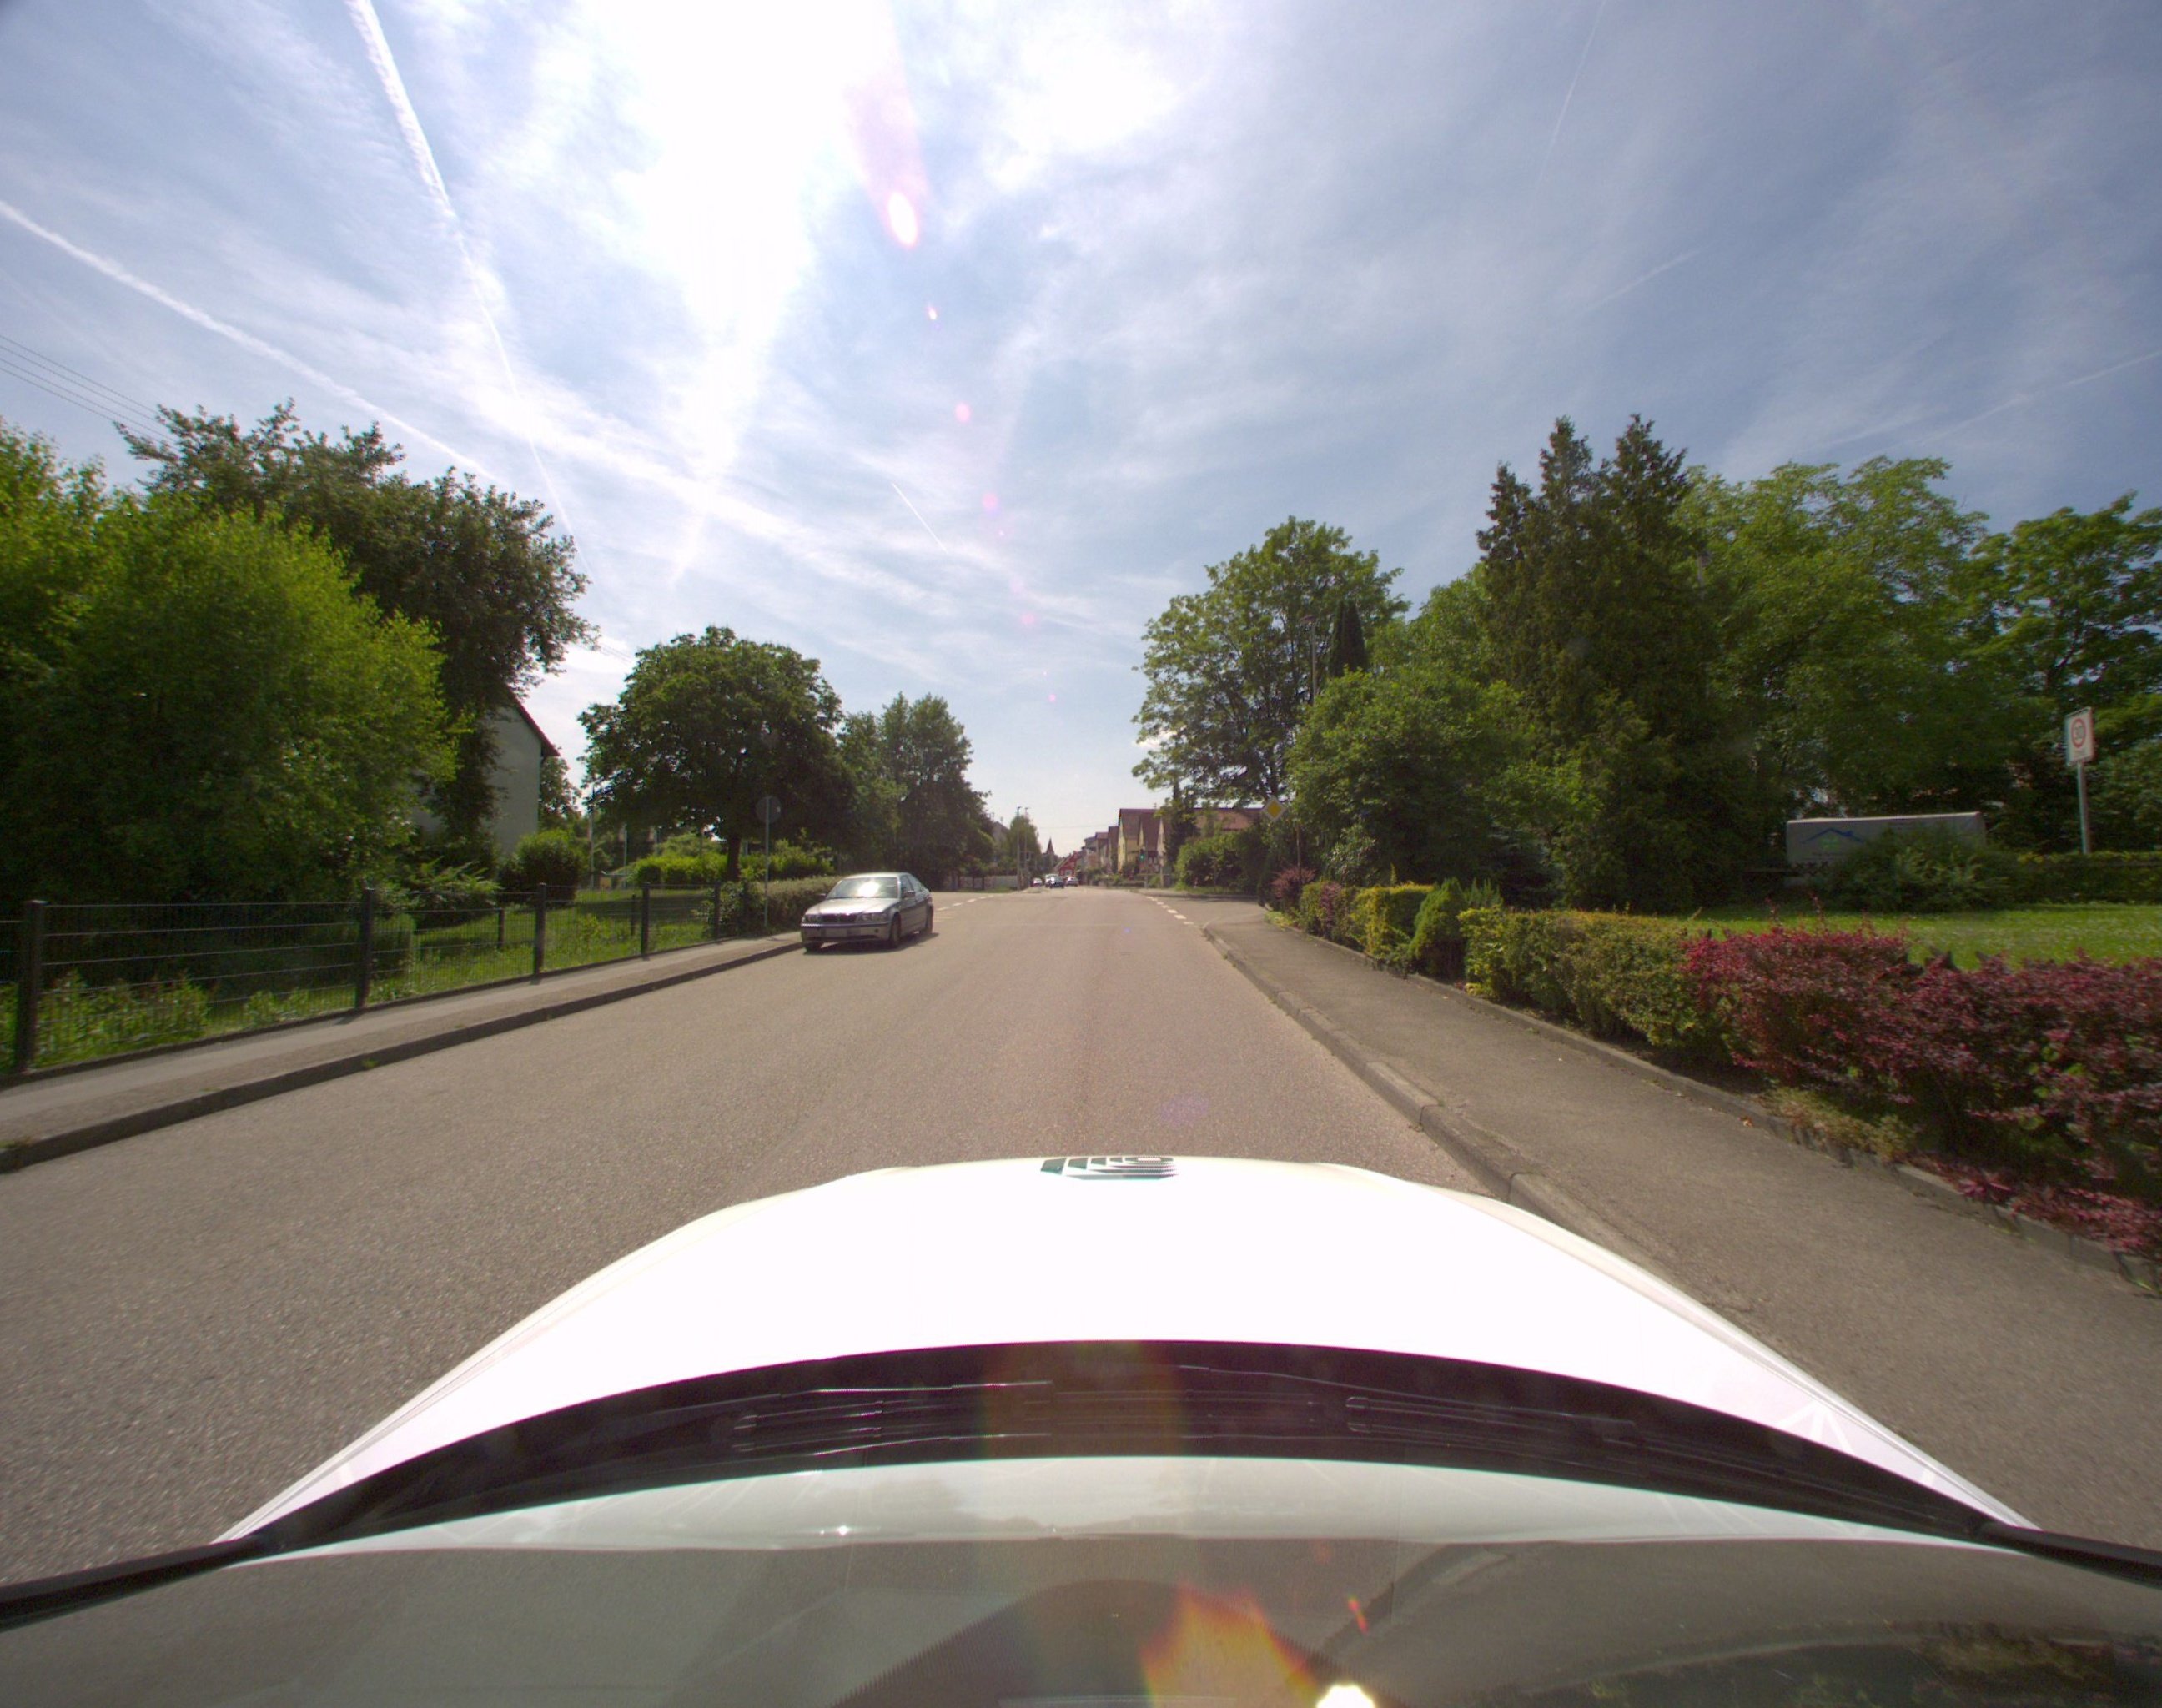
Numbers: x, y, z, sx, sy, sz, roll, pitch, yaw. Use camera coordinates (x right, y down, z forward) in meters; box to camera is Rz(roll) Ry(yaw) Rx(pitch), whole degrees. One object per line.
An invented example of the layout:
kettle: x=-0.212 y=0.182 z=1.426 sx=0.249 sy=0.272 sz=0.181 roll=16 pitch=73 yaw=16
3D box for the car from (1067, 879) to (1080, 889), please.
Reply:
car: x=-1.283 y=4.950 z=135.582 sx=1.987 sy=1.603 sz=4.000 roll=-1 pitch=0 yaw=1

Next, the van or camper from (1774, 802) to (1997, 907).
van or camper: x=18.212 y=0.097 z=18.545 sx=1.828 sy=2.141 sz=3.349 roll=4 pitch=-5 yaw=-38

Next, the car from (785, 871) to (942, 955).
car: x=-4.174 y=1.083 z=16.416 sx=1.773 sy=1.394 sz=4.411 roll=-2 pitch=-1 yaw=2

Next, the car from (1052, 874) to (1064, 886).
car: x=-3.045 y=3.389 z=106.921 sx=1.531 sy=1.541 sz=4.300 roll=-1 pitch=-1 yaw=-2

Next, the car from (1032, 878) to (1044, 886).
car: x=-8.686 y=5.729 z=164.532 sx=2.104 sy=1.561 sz=4.312 roll=-1 pitch=-2 yaw=0

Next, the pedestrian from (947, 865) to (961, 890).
pedestrian: x=-9.133 y=1.706 z=58.674 sx=0.729 sy=1.778 sz=0.693 roll=-3 pitch=-4 yaw=19

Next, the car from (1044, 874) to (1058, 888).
car: x=-4.402 y=3.940 z=119.160 sx=1.876 sy=1.965 sz=4.893 roll=-2 pitch=-2 yaw=-5
